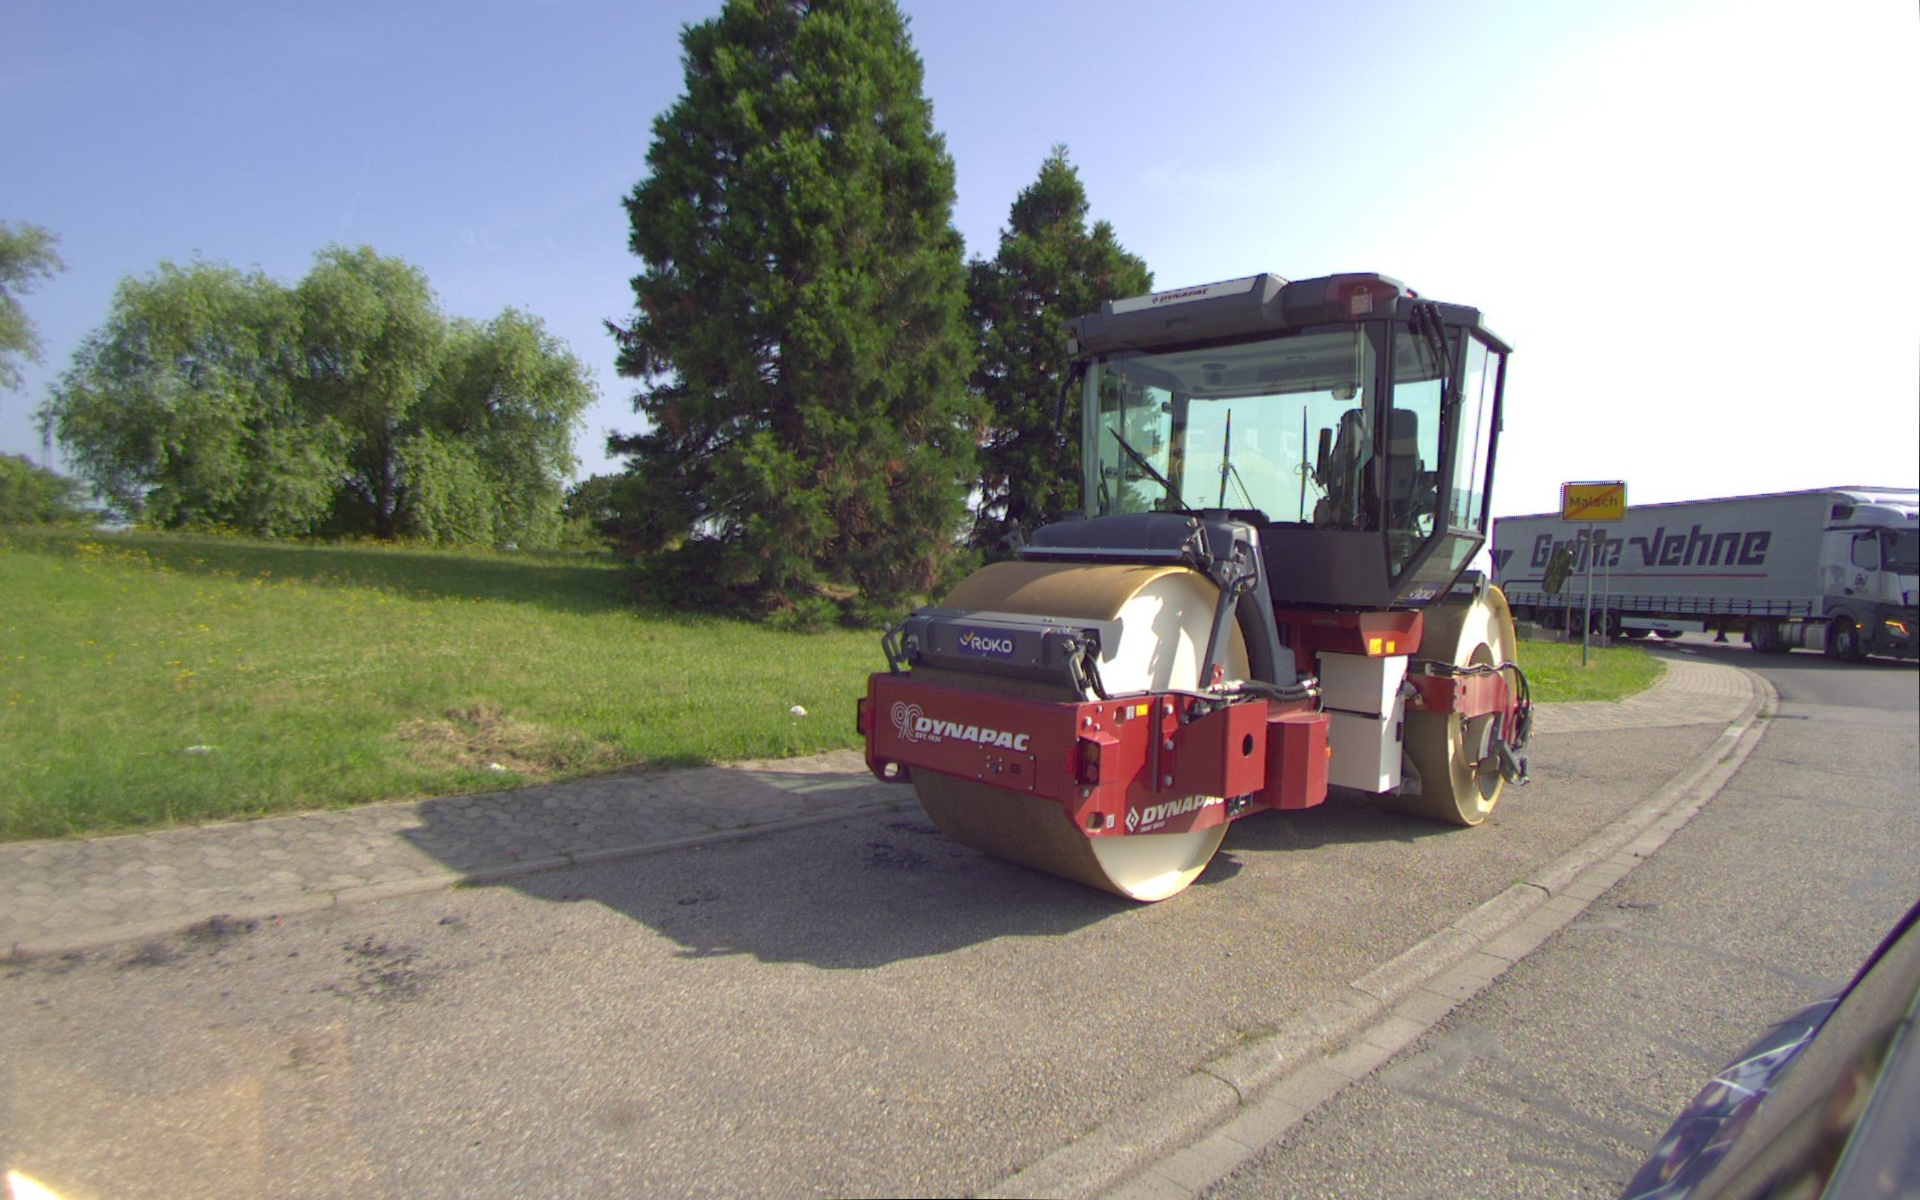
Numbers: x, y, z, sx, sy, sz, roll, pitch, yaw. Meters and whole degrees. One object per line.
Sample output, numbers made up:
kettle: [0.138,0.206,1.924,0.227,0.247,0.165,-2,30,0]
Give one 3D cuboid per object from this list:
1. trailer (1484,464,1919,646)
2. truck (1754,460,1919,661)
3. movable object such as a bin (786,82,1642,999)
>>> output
trailer: [22.019,-1.124,30.872,3.430,4.260,14.250,0,0,-6]
truck: [22.321,-0.872,24.084,3.351,4.260,6.066,0,0,17]
movable object such as a bin: [2.018,-0.259,6.238,5.660,3.048,2.430,0,3,-45]
